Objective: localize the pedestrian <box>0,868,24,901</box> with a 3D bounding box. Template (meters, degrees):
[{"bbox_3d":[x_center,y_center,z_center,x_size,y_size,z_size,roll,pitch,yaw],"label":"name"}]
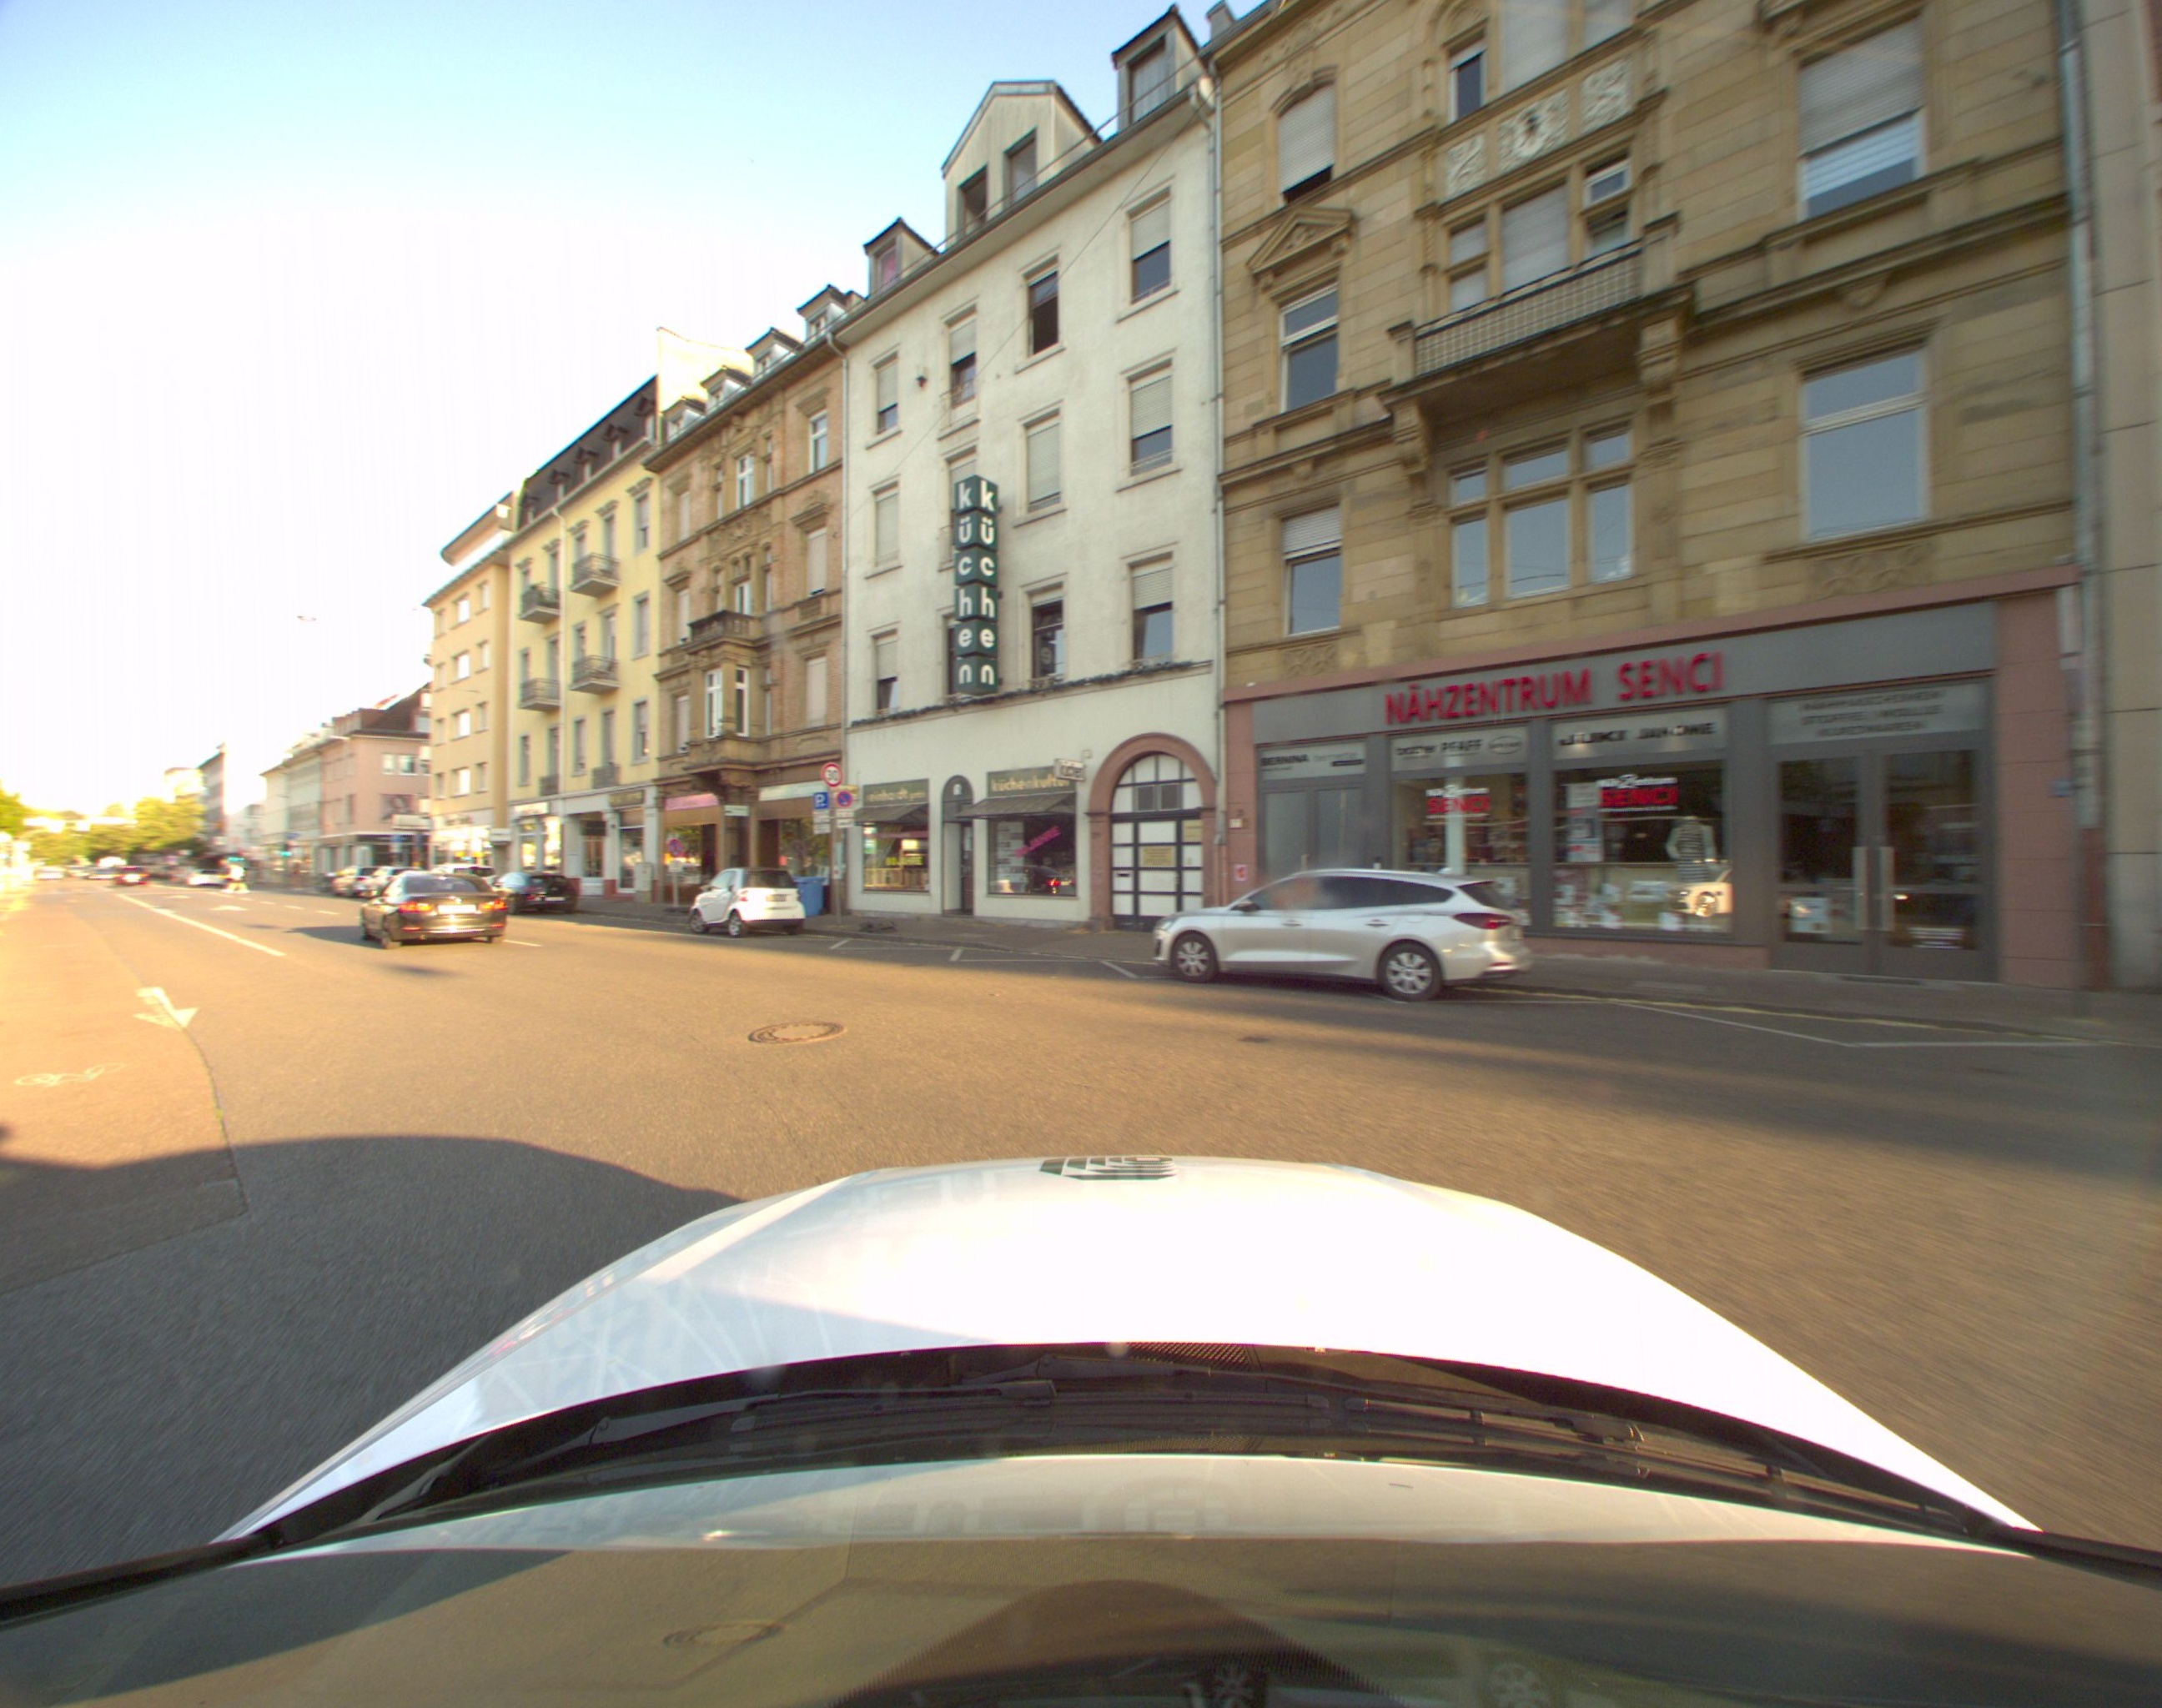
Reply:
[{"bbox_3d":[-55.331,1.559,41.952,0.706,1.721,0.890,-1,-1,27],"label":"pedestrian"}]

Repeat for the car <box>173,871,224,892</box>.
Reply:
[{"bbox_3d":[-68.485,2.110,63.180,3.843,1.604,2.356,-1,-1,38],"label":"car"}]

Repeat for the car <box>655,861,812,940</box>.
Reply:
[{"bbox_3d":[-8.266,1.009,19.222,3.948,1.585,1.716,1,0,38],"label":"car"}]

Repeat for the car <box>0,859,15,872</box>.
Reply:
[{"bbox_3d":[-181.282,1.944,137.274,3.628,2.014,1.845,-1,-1,39],"label":"car"}]

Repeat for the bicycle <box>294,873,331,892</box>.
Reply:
[{"bbox_3d":[-45.773,1.689,48.489,0.506,1.026,1.514,-1,0,34],"label":"bicycle"}]

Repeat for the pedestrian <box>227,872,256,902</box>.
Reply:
[{"bbox_3d":[-48.648,1.879,47.206,0.752,1.721,0.875,0,-1,13],"label":"pedestrian"}]

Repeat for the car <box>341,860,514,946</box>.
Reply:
[{"bbox_3d":[-13.065,0.894,16.206,4.150,1.492,1.906,-1,-2,40],"label":"car"}]

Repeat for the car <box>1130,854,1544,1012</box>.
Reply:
[{"bbox_3d":[3.121,0.804,10.381,4.621,1.535,2.013,1,0,37],"label":"car"}]

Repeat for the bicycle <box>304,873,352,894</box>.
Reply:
[{"bbox_3d":[-42.798,1.672,46.303,0.585,1.112,1.902,-3,-3,35],"label":"bicycle"}]

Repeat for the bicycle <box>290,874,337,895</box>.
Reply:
[{"bbox_3d":[-44.759,1.745,47.523,0.714,1.167,1.902,-1,-1,35],"label":"bicycle"}]

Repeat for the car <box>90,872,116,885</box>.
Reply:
[{"bbox_3d":[-117.100,2.937,97.501,3.948,1.486,1.902,-1,-1,39],"label":"car"}]

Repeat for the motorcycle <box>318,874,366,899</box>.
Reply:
[{"bbox_3d":[-41.048,1.784,45.243,0.707,1.263,1.830,-1,0,35],"label":"motorcycle"}]

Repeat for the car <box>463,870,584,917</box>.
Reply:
[{"bbox_3d":[-18.793,1.251,27.373,4.787,1.434,2.012,-1,-1,38],"label":"car"}]

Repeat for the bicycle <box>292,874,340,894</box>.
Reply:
[{"bbox_3d":[-45.249,1.769,48.192,0.752,1.112,1.902,-1,-1,35],"label":"bicycle"}]

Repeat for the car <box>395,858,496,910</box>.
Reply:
[{"bbox_3d":[-24.007,1.052,30.718,4.599,1.745,1.900,1,0,38],"label":"car"}]

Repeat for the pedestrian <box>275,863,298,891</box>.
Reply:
[{"bbox_3d":[-49.570,1.424,50.826,0.801,1.721,0.802,-1,-2,31],"label":"pedestrian"}]

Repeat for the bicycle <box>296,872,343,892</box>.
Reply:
[{"bbox_3d":[-43.951,1.622,47.032,0.594,1.112,1.902,-1,-1,35],"label":"bicycle"}]

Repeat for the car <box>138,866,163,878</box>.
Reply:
[{"bbox_3d":[-128.488,2.465,112.428,3.948,1.617,2.012,-1,-2,38],"label":"car"}]

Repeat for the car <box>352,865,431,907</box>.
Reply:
[{"bbox_3d":[-32.207,1.438,38.011,4.351,1.762,1.886,1,0,38],"label":"car"}]

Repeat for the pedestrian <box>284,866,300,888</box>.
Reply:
[{"bbox_3d":[-67.074,1.951,69.250,1.035,1.777,0.764,-1,-2,33],"label":"pedestrian"}]

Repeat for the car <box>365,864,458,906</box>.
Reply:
[{"bbox_3d":[-28.178,1.242,34.240,4.807,1.543,2.035,1,0,38],"label":"car"}]

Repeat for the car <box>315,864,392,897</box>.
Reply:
[{"bbox_3d":[-37.210,1.311,41.628,4.741,1.613,2.013,-1,-1,36],"label":"car"}]

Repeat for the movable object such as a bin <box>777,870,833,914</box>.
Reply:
[{"bbox_3d":[-7.749,1.038,22.875,1.380,1.186,0.874,-1,-1,38],"label":"movable object such as a bin"}]

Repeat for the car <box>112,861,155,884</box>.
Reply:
[{"bbox_3d":[-75.067,1.474,64.513,3.948,1.750,2.012,-1,-1,38],"label":"car"}]
